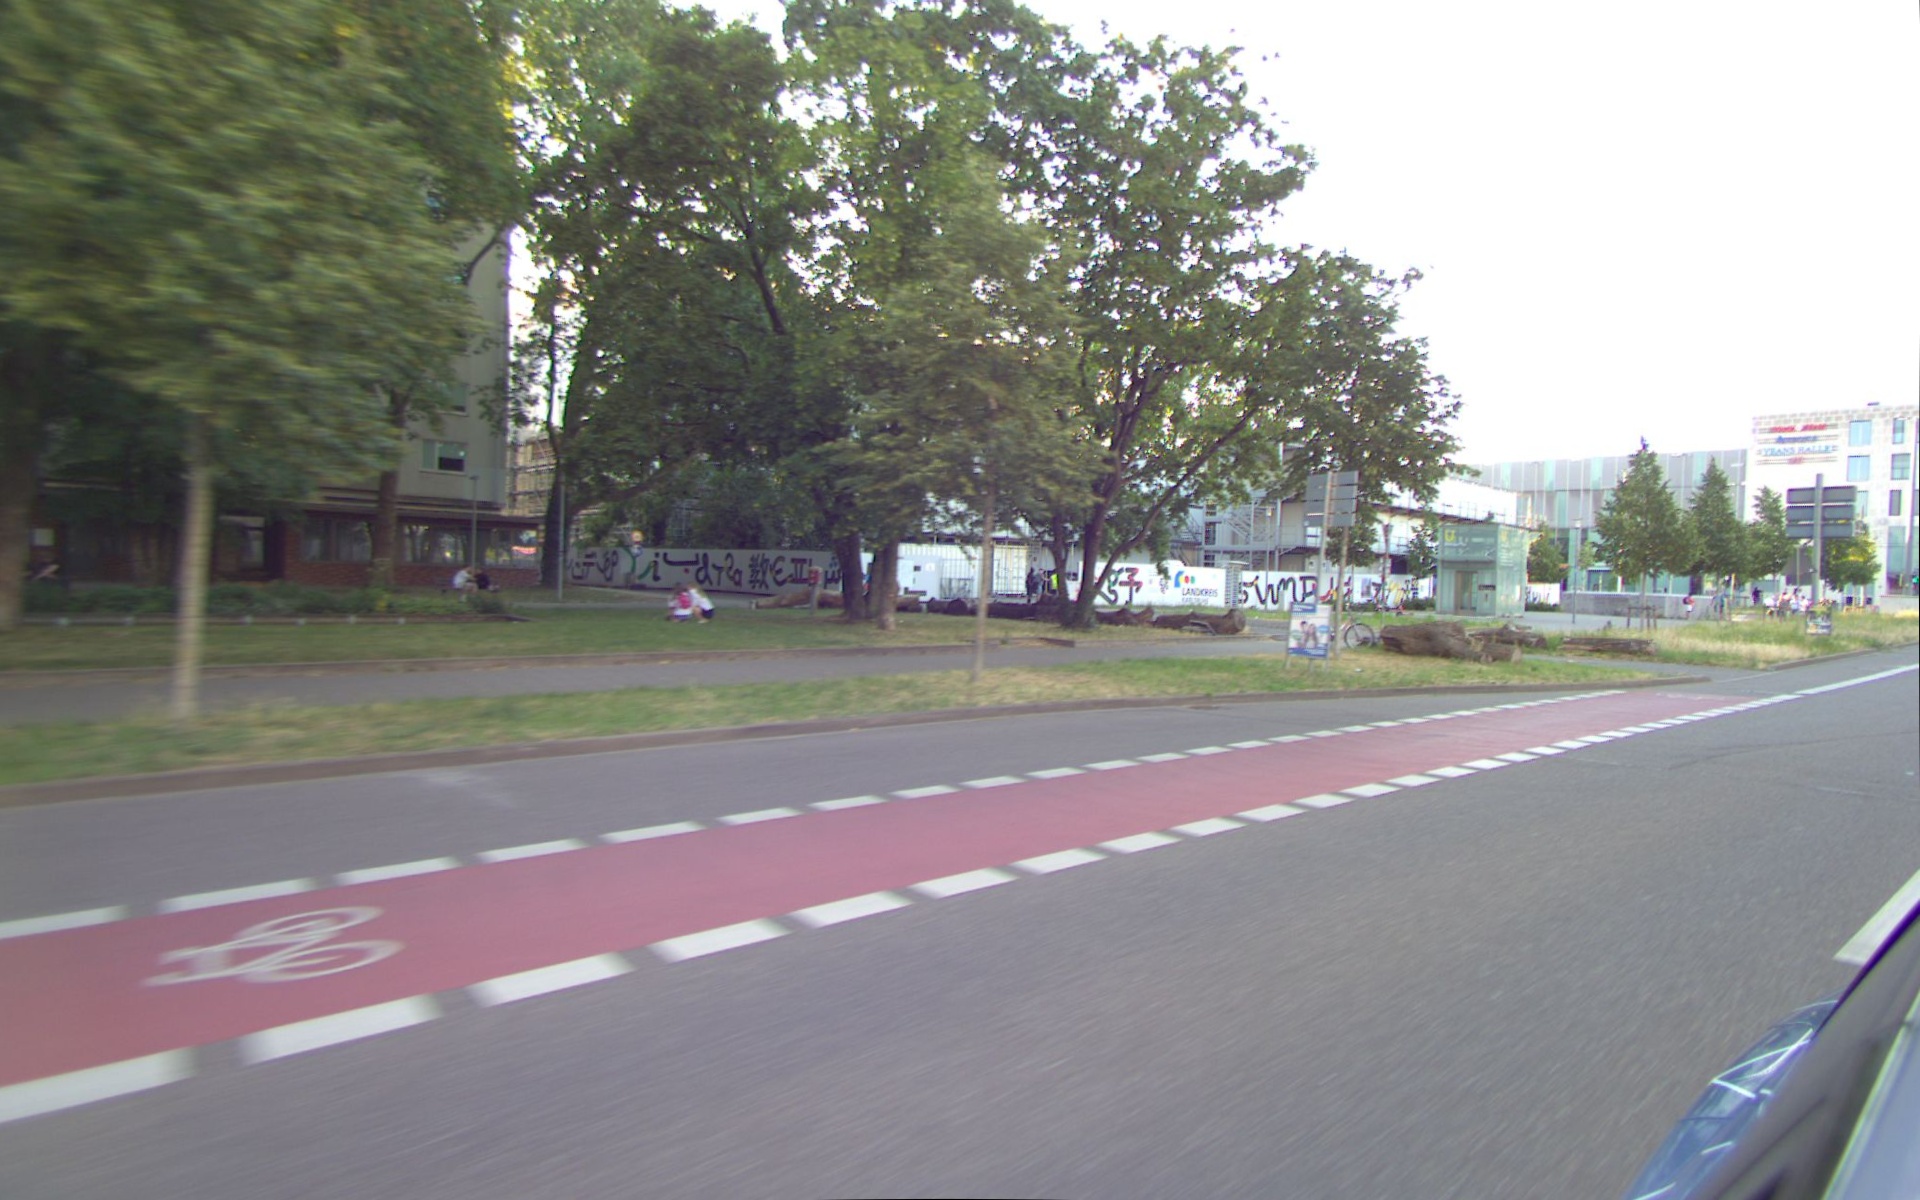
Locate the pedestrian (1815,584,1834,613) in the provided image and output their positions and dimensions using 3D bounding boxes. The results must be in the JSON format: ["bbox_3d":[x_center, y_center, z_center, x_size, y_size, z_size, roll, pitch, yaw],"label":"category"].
[{"bbox_3d":[52.338,-0.095,61.268,0.855,1.734,0.644,0,2,-40],"label":"pedestrian"}]

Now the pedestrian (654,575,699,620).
[{"bbox_3d":[-5.844,-0.066,20.898,0.674,0.895,0.588,2,2,26],"label":"pedestrian"}]

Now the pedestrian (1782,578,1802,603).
[{"bbox_3d":[65.811,-0.750,80.066,0.882,1.875,0.723,4,4,17],"label":"pedestrian"}]

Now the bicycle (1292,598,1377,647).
[{"bbox_3d":[8.459,0.519,22.856,1.858,1.017,0.497,2,4,-20],"label":"bicycle"}]

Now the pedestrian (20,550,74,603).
[{"bbox_3d":[-22.667,-0.599,25.135,0.888,1.276,1.135,0,2,-37],"label":"pedestrian"}]

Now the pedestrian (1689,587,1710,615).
[{"bbox_3d":[40.712,0.070,55.716,0.634,1.509,0.761,3,0,-44],"label":"pedestrian"}]

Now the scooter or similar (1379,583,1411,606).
[{"bbox_3d":[23.511,-0.291,54.733,0.466,1.236,1.572,0,1,-41],"label":"scooter or similar"}]

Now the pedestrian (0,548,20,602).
[{"bbox_3d":[-23.442,-0.614,24.610,0.712,1.276,1.135,1,2,-37],"label":"pedestrian"}]

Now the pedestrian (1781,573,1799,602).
[{"bbox_3d":[49.344,-0.738,60.155,0.748,1.734,0.644,2,1,-39],"label":"pedestrian"}]

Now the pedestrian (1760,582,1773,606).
[{"bbox_3d":[63.784,-0.480,80.019,0.575,1.877,0.605,1,2,-35],"label":"pedestrian"}]

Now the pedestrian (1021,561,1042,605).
[{"bbox_3d":[3.228,-0.774,45.546,0.587,1.925,0.771,1,1,-25],"label":"pedestrian"}]

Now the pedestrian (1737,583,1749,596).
[{"bbox_3d":[62.596,-0.849,80.866,0.648,0.975,0.644,3,2,45],"label":"pedestrian"}]

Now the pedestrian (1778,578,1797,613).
[{"bbox_3d":[47.828,-0.253,58.484,0.608,1.957,0.644,1,2,-37],"label":"pedestrian"}]

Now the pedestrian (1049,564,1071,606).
[{"bbox_3d":[4.453,-0.684,45.089,0.587,1.843,0.771,1,1,-25],"label":"pedestrian"}]

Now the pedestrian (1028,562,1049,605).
[{"bbox_3d":[3.457,-0.725,44.572,0.587,1.879,0.771,1,1,-25],"label":"pedestrian"}]

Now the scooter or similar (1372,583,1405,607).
[{"bbox_3d":[22.943,-0.274,54.161,0.466,1.236,1.572,0,1,-41],"label":"scooter or similar"}]

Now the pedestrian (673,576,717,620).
[{"bbox_3d":[-5.620,-0.053,21.481,0.674,0.895,0.618,2,2,26],"label":"pedestrian"}]

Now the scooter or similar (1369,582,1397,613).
[{"bbox_3d":[17.558,-0.092,42.022,0.473,1.235,1.550,6,4,43],"label":"scooter or similar"}]

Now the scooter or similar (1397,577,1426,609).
[{"bbox_3d":[18.368,-0.272,41.152,1.373,1.235,0.425,1,4,-39],"label":"scooter or similar"}]

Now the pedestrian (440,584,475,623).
[{"bbox_3d":[-15.604,0.108,31.418,0.786,1.178,0.754,3,2,45],"label":"pedestrian"}]

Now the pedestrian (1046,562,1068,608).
[{"bbox_3d":[4.150,-0.646,43.409,0.587,1.943,0.771,1,1,-25],"label":"pedestrian"}]

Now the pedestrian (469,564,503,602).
[{"bbox_3d":[-15.002,-0.537,32.045,0.786,1.178,0.754,3,2,45],"label":"pedestrian"}]

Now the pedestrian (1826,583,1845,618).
[{"bbox_3d":[49.764,0.039,57.525,0.608,1.957,0.644,1,2,-40],"label":"pedestrian"}]

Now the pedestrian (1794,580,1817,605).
[{"bbox_3d":[66.241,-0.576,79.287,0.986,1.875,0.896,0,4,-27],"label":"pedestrian"}]

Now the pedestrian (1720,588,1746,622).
[{"bbox_3d":[43.724,0.290,57.257,1.026,1.838,0.817,2,1,-34],"label":"pedestrian"}]
